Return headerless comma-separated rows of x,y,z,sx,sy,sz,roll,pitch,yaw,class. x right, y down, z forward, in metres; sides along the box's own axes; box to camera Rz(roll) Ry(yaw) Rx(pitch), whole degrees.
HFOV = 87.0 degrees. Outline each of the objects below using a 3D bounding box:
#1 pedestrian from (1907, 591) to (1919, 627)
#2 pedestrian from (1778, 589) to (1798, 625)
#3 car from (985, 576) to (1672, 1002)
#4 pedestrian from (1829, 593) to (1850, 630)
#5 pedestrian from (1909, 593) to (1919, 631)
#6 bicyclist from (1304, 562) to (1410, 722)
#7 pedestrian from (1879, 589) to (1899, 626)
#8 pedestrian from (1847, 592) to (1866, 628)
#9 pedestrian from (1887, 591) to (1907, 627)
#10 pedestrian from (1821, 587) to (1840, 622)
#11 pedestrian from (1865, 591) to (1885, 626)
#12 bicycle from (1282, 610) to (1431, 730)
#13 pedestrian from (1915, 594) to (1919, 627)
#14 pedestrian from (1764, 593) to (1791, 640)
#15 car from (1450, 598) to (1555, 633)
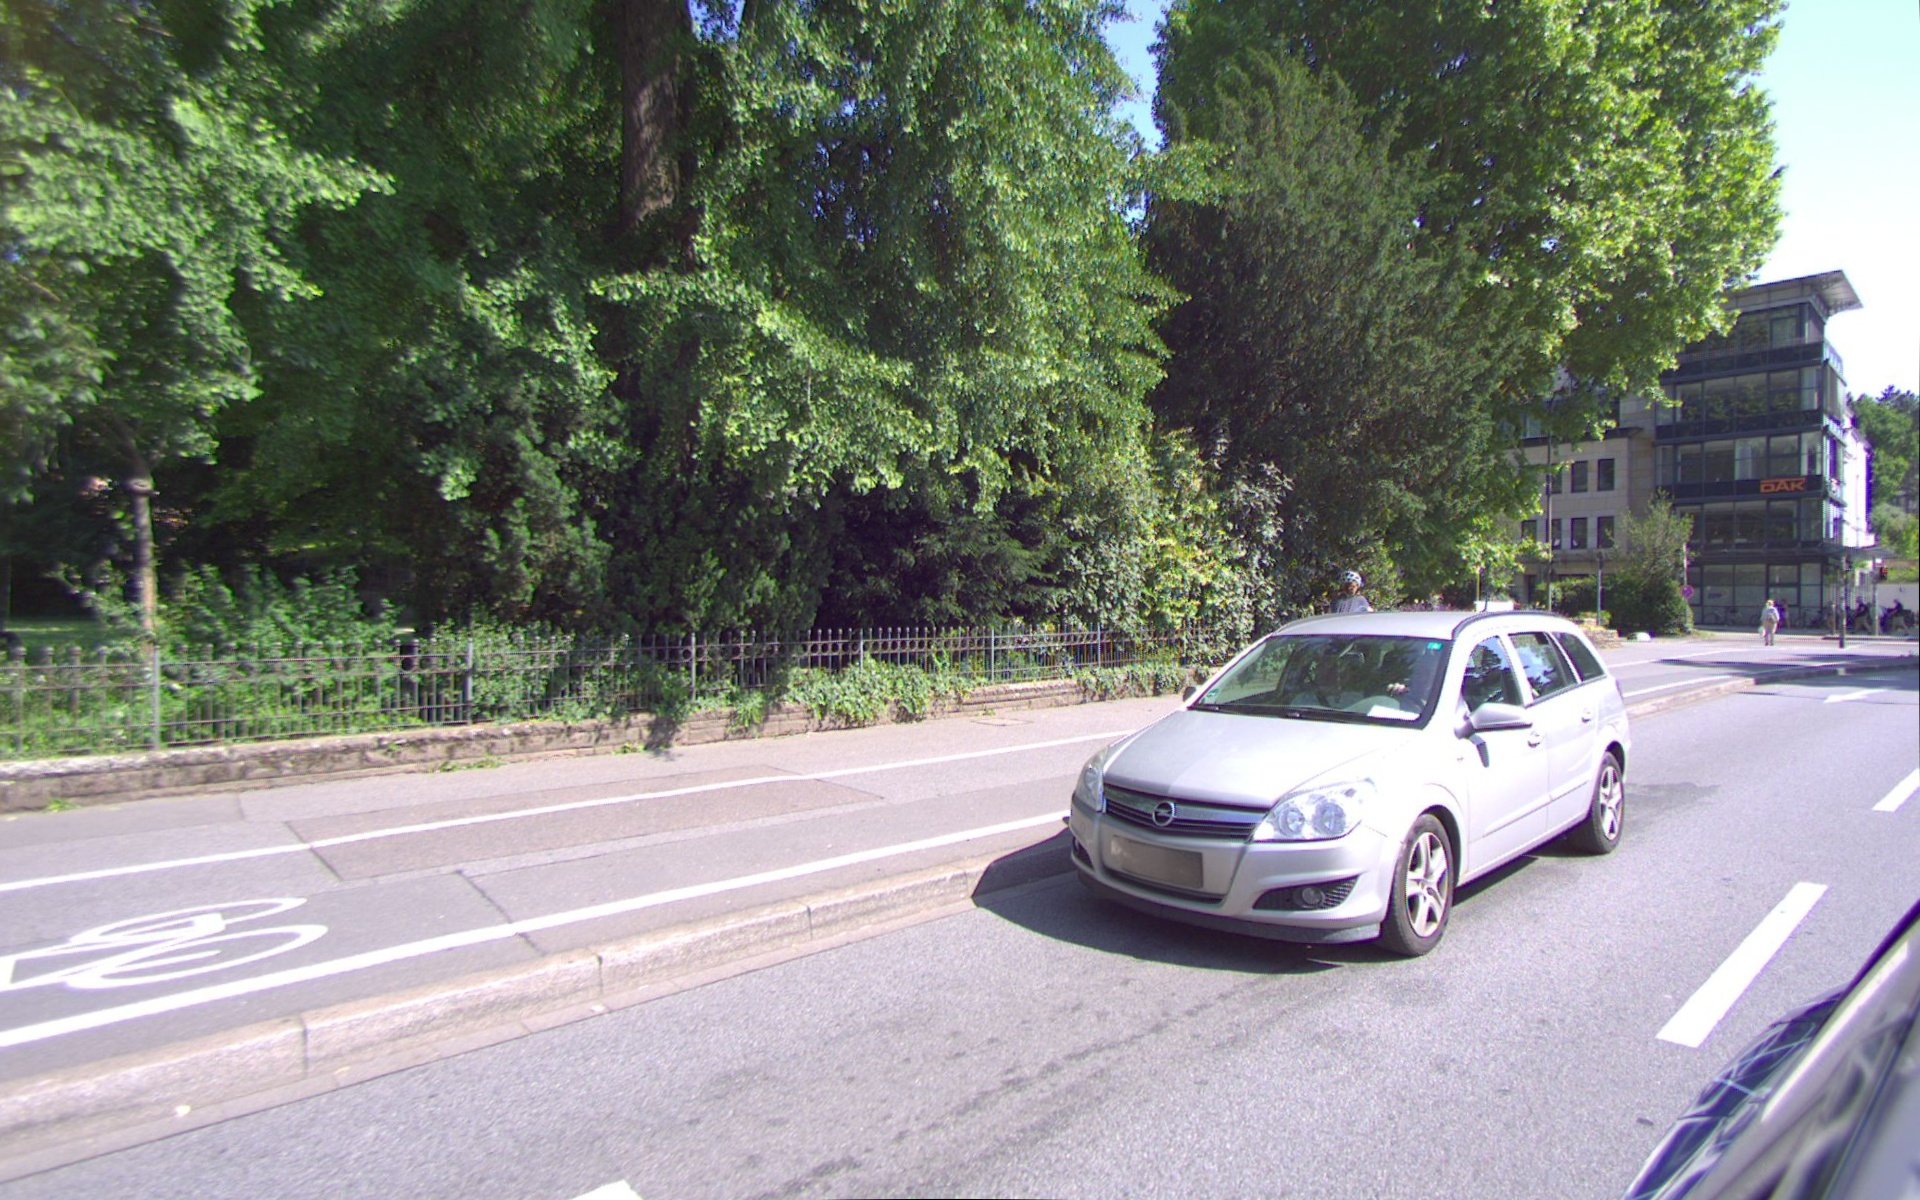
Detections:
46.490,0.441,49.174,0.593,1.727,0.602,1,-1,-37,pedestrian
40.187,0.346,49.129,0.592,1.727,0.689,1,-1,-43,pedestrian
2.330,0.714,5.727,4.327,1.542,1.711,1,-1,-40,car
41.310,0.524,47.529,0.635,1.727,0.653,1,-1,-40,pedestrian
43.405,0.527,45.706,0.591,1.727,0.701,1,-1,-37,pedestrian
4.339,0.422,11.060,0.928,1.656,0.765,0,1,-44,bicyclist
43.304,0.348,47.173,0.678,1.727,0.603,1,-1,-42,pedestrian
43.984,0.482,49.652,0.593,1.727,0.602,1,-1,-37,pedestrian
45.139,0.440,48.739,0.593,1.727,0.602,1,-1,-37,pedestrian
43.270,0.239,50.301,0.593,1.727,0.602,1,-1,-37,pedestrian
44.493,0.410,49.211,0.593,1.727,0.602,1,-1,-37,pedestrian
4.353,0.706,11.036,1.968,1.134,0.758,-1,1,-44,bicycle
51.147,0.572,53.730,0.594,1.727,0.601,1,-1,-42,pedestrian
29.687,0.597,36.739,0.709,1.694,0.526,0,-1,45,pedestrian
24.615,0.670,45.978,3.939,1.470,1.784,1,0,43,car
